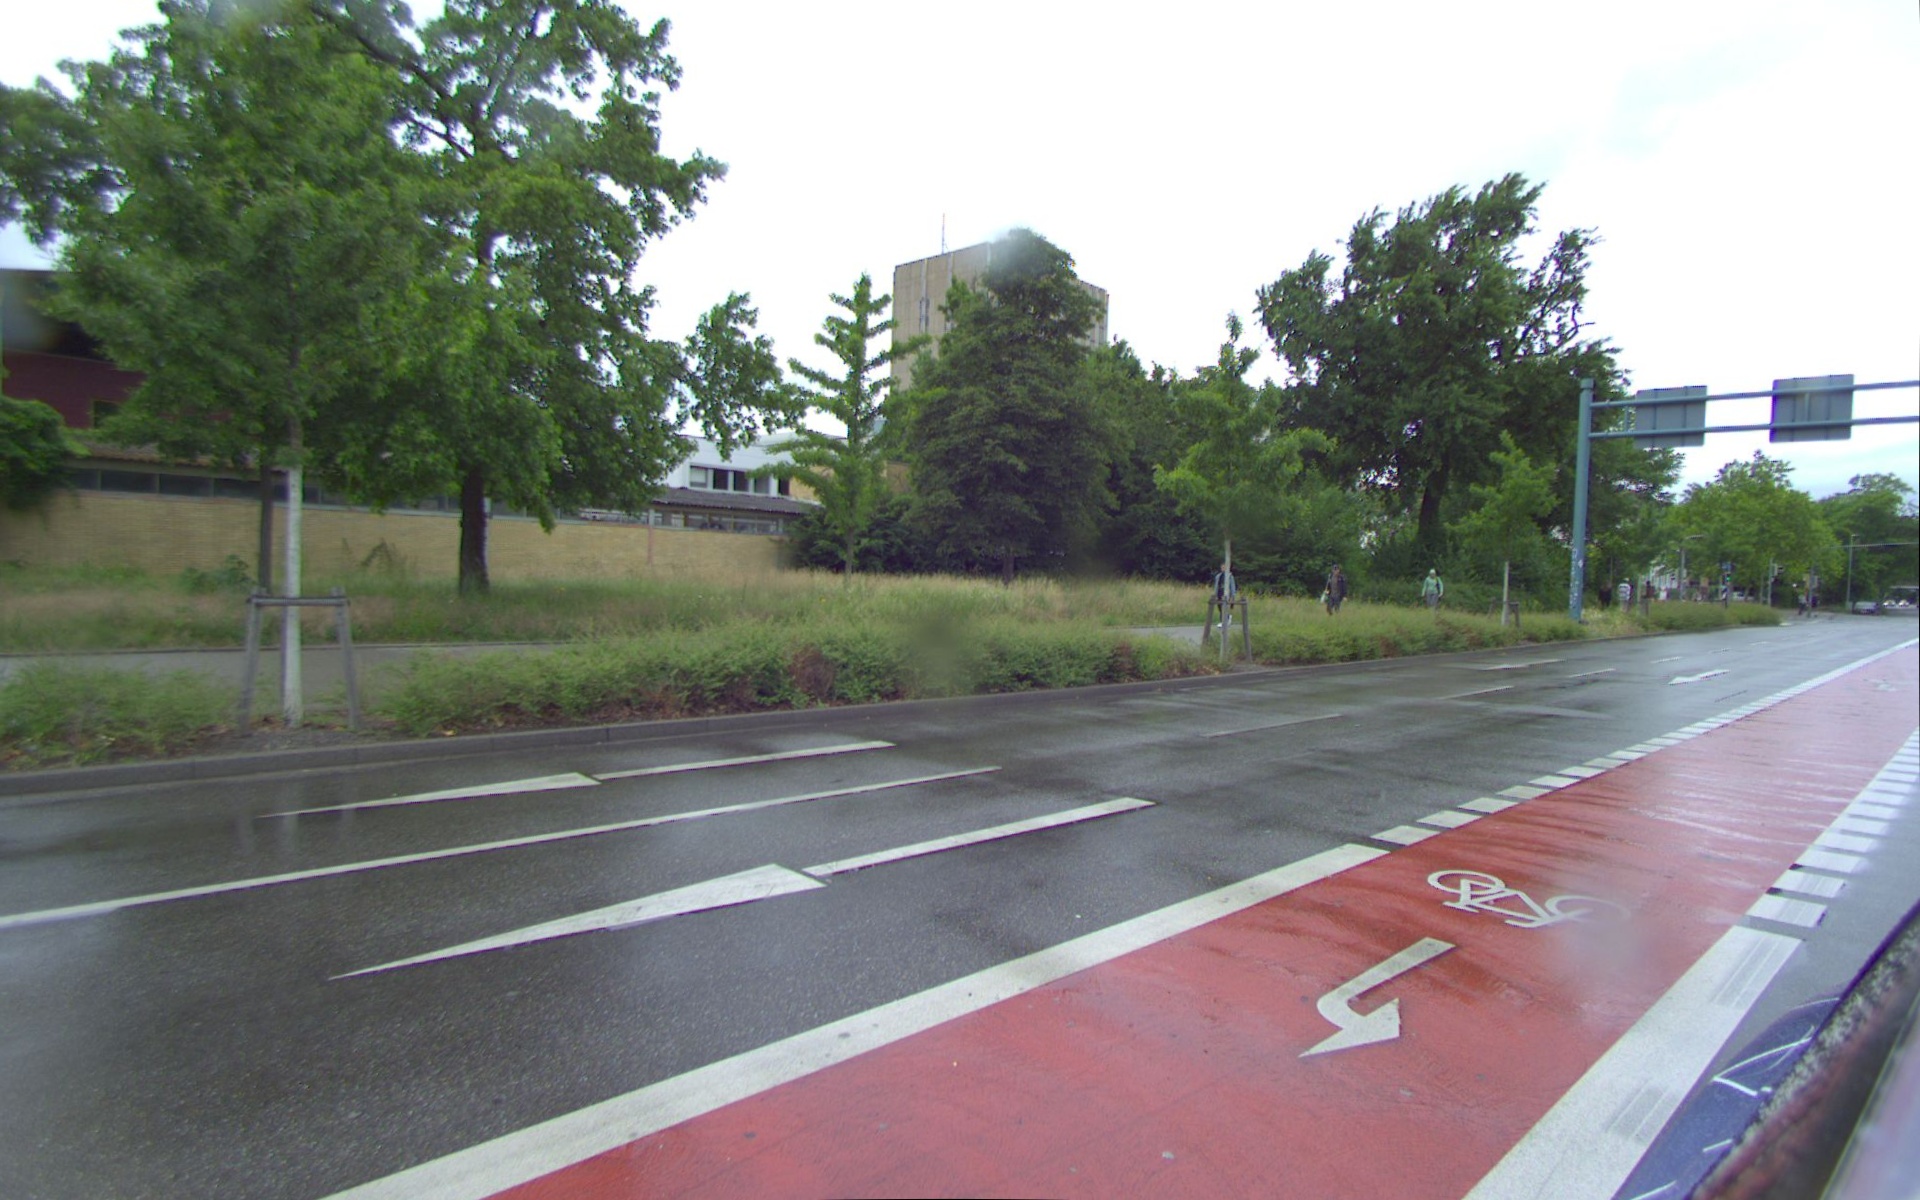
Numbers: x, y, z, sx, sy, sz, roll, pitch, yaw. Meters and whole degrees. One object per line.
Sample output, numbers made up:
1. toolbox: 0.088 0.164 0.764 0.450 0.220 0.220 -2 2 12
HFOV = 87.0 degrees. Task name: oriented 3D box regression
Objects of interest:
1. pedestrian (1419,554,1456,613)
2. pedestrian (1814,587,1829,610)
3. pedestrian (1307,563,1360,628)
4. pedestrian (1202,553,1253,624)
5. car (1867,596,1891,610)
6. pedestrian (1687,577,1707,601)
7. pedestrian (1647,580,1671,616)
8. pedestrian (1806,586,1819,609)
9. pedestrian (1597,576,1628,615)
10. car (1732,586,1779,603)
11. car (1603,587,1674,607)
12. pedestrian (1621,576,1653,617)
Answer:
1. pedestrian: 16.784 -0.595 35.575 0.813 2.038 0.793 1 2 -37
2. pedestrian: 69.358 -0.148 81.454 0.618 1.847 0.780 3 1 24
3. pedestrian: 10.445 -0.135 28.312 1.026 1.769 0.936 1 2 -37
4. pedestrian: 7.041 -0.322 26.691 0.813 1.819 0.936 1 2 -37
5. car: 96.350 0.299 106.087 1.657 1.282 4.041 4 2 44
6. pedestrian: 50.960 -0.793 69.957 0.868 1.627 0.857 3 2 24
7. pedestrian: 37.252 -0.111 53.941 0.835 1.882 0.732 1 2 -37
8. pedestrian: 68.577 -0.195 81.411 0.620 1.847 0.778 3 2 32
9. pedestrian: 29.548 -0.199 45.835 0.814 1.725 0.935 4 -2 -39
10. car: 97.541 -0.653 124.168 4.405 1.895 1.615 4 2 39
11. car: 53.135 -0.255 79.268 4.375 1.353 1.746 4 5 43
12. pedestrian: 30.014 -0.172 44.880 0.814 1.743 0.935 4 -2 -39
